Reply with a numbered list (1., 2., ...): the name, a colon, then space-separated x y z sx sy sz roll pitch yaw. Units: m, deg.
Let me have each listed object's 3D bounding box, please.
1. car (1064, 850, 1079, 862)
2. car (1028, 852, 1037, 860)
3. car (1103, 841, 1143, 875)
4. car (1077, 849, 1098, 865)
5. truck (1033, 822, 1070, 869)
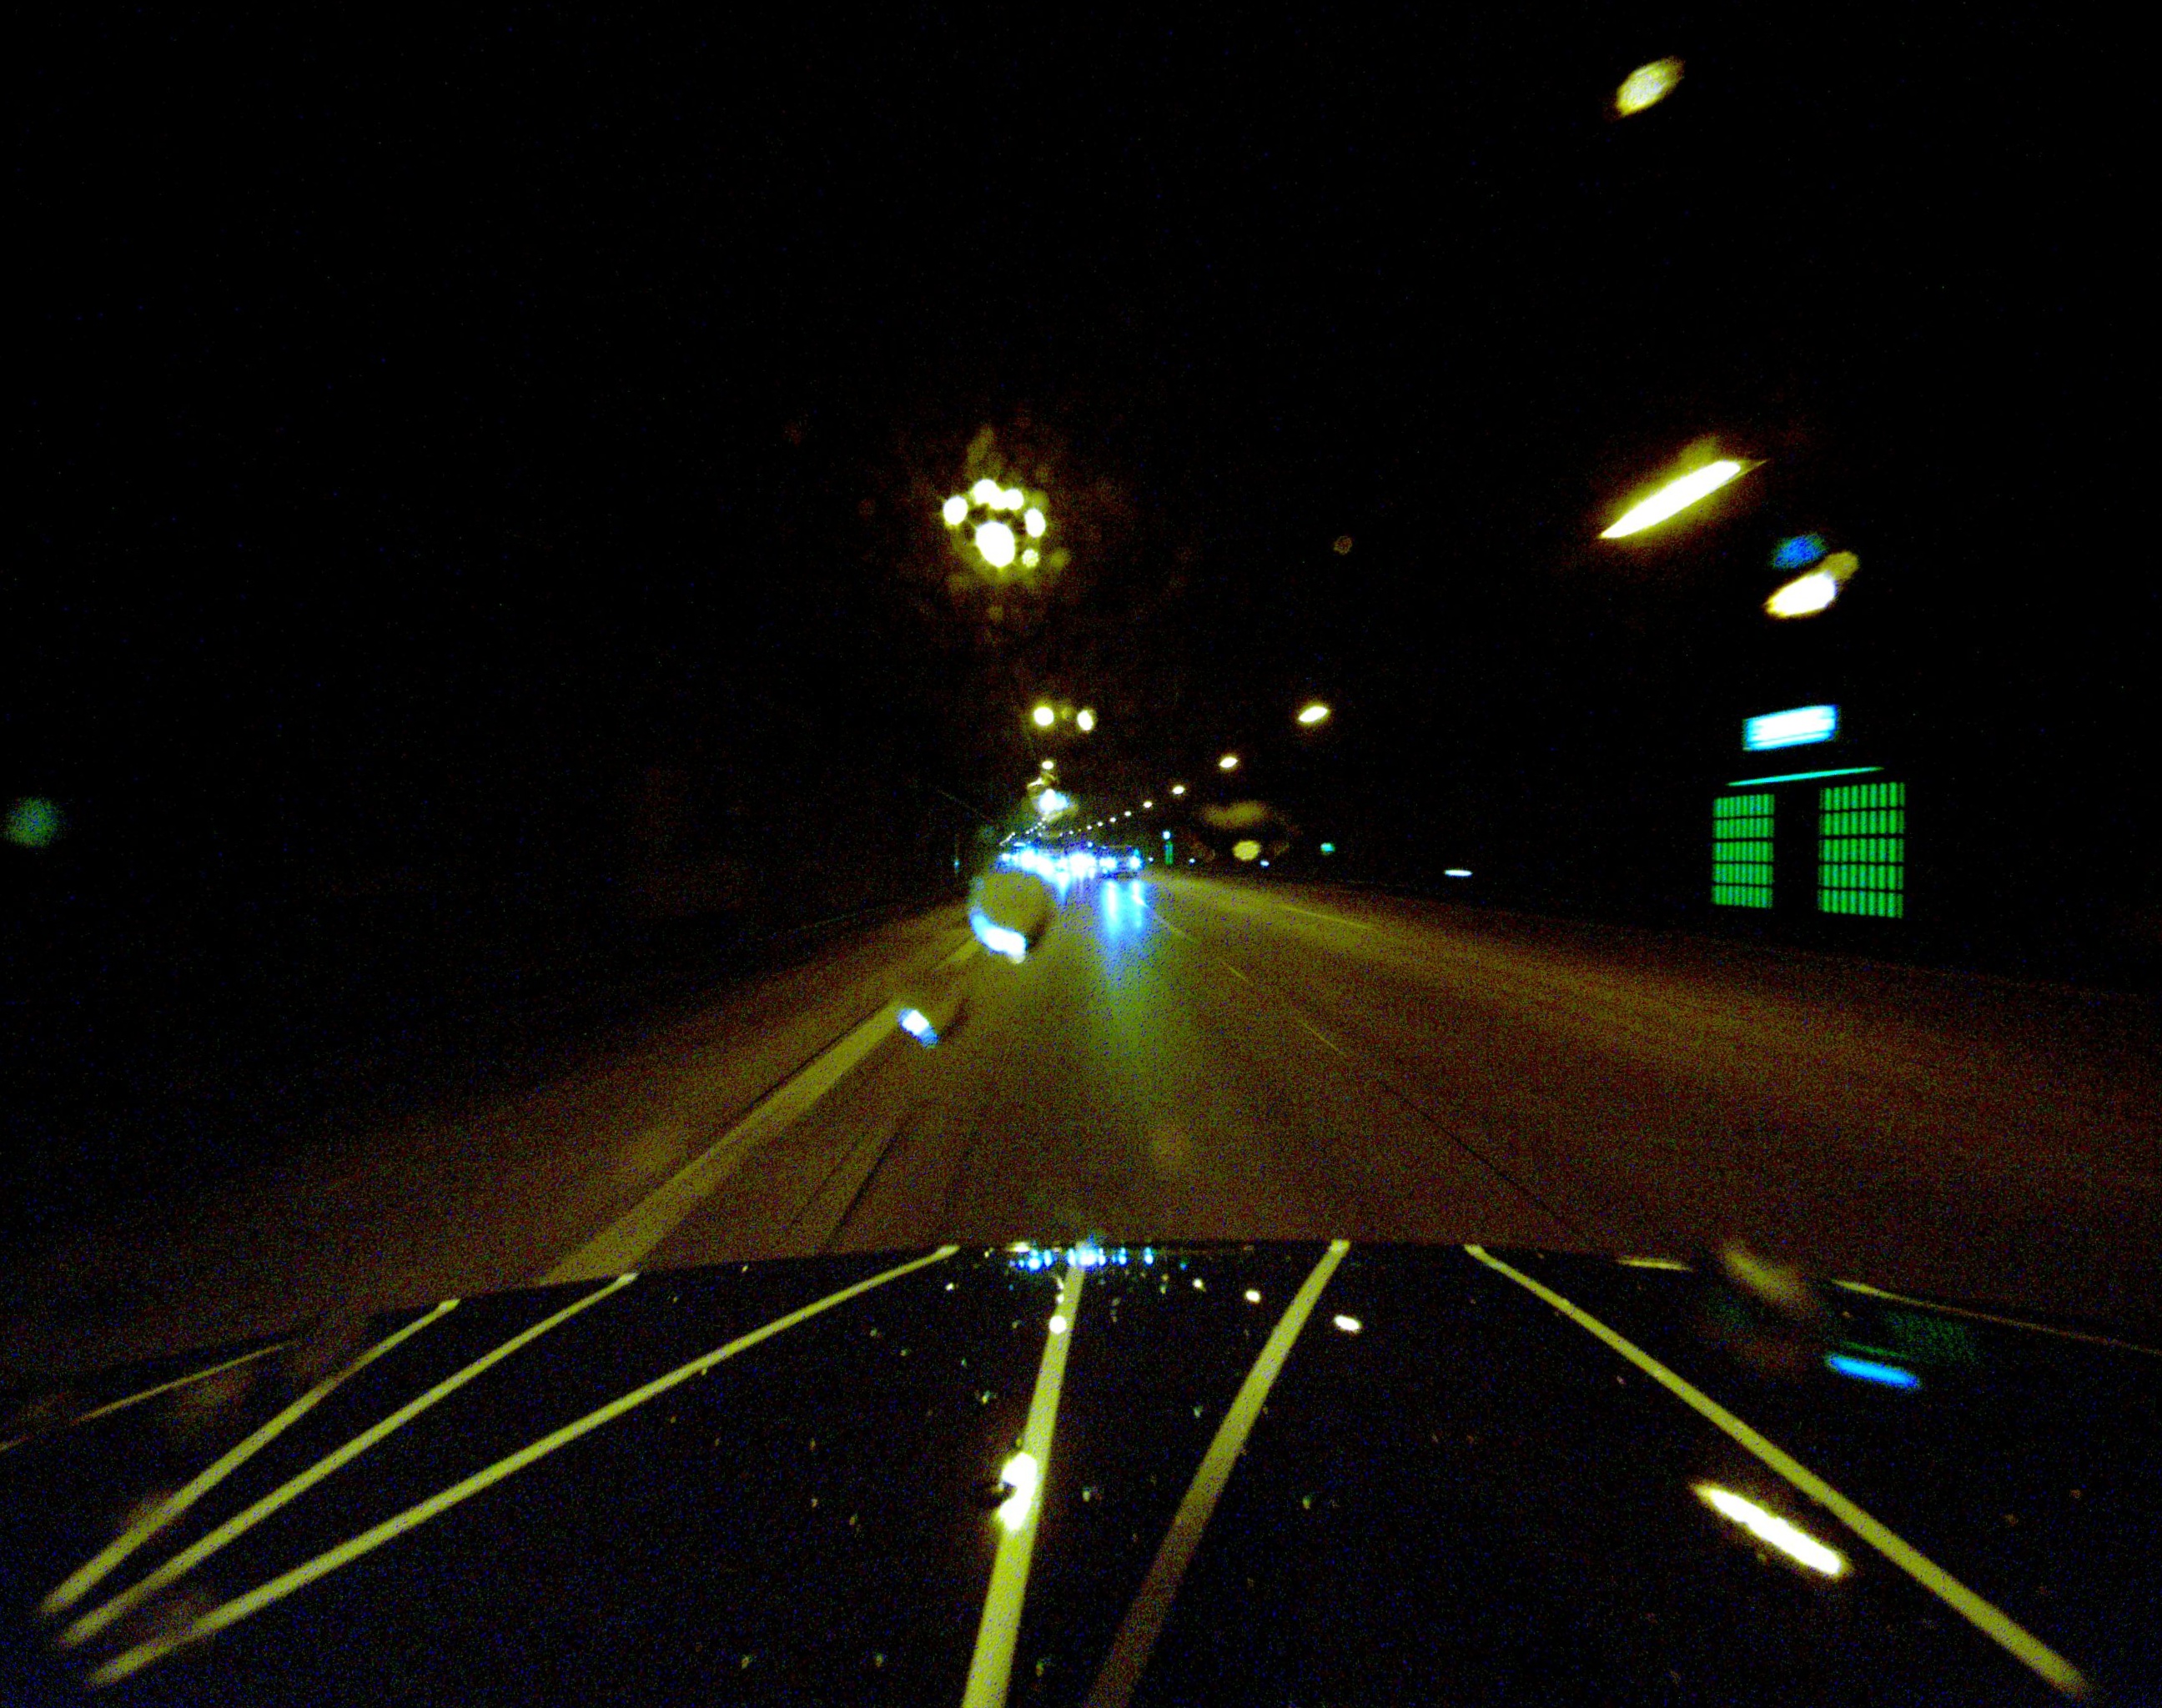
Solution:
1. car: -1.273 0.289 101.015 1.759 1.567 3.998 -2 0 -5
2. car: -11.423 0.532 179.173 2.000 1.729 3.997 -2 0 -7
3. car: 2.609 0.301 48.146 1.999 2.001 4.360 -1 -1 -3
4. car: 0.619 0.317 80.422 1.911 1.638 3.998 -2 0 -3
5. truck: -2.802 -0.778 71.881 3.143 4.136 7.385 -2 1 -3
